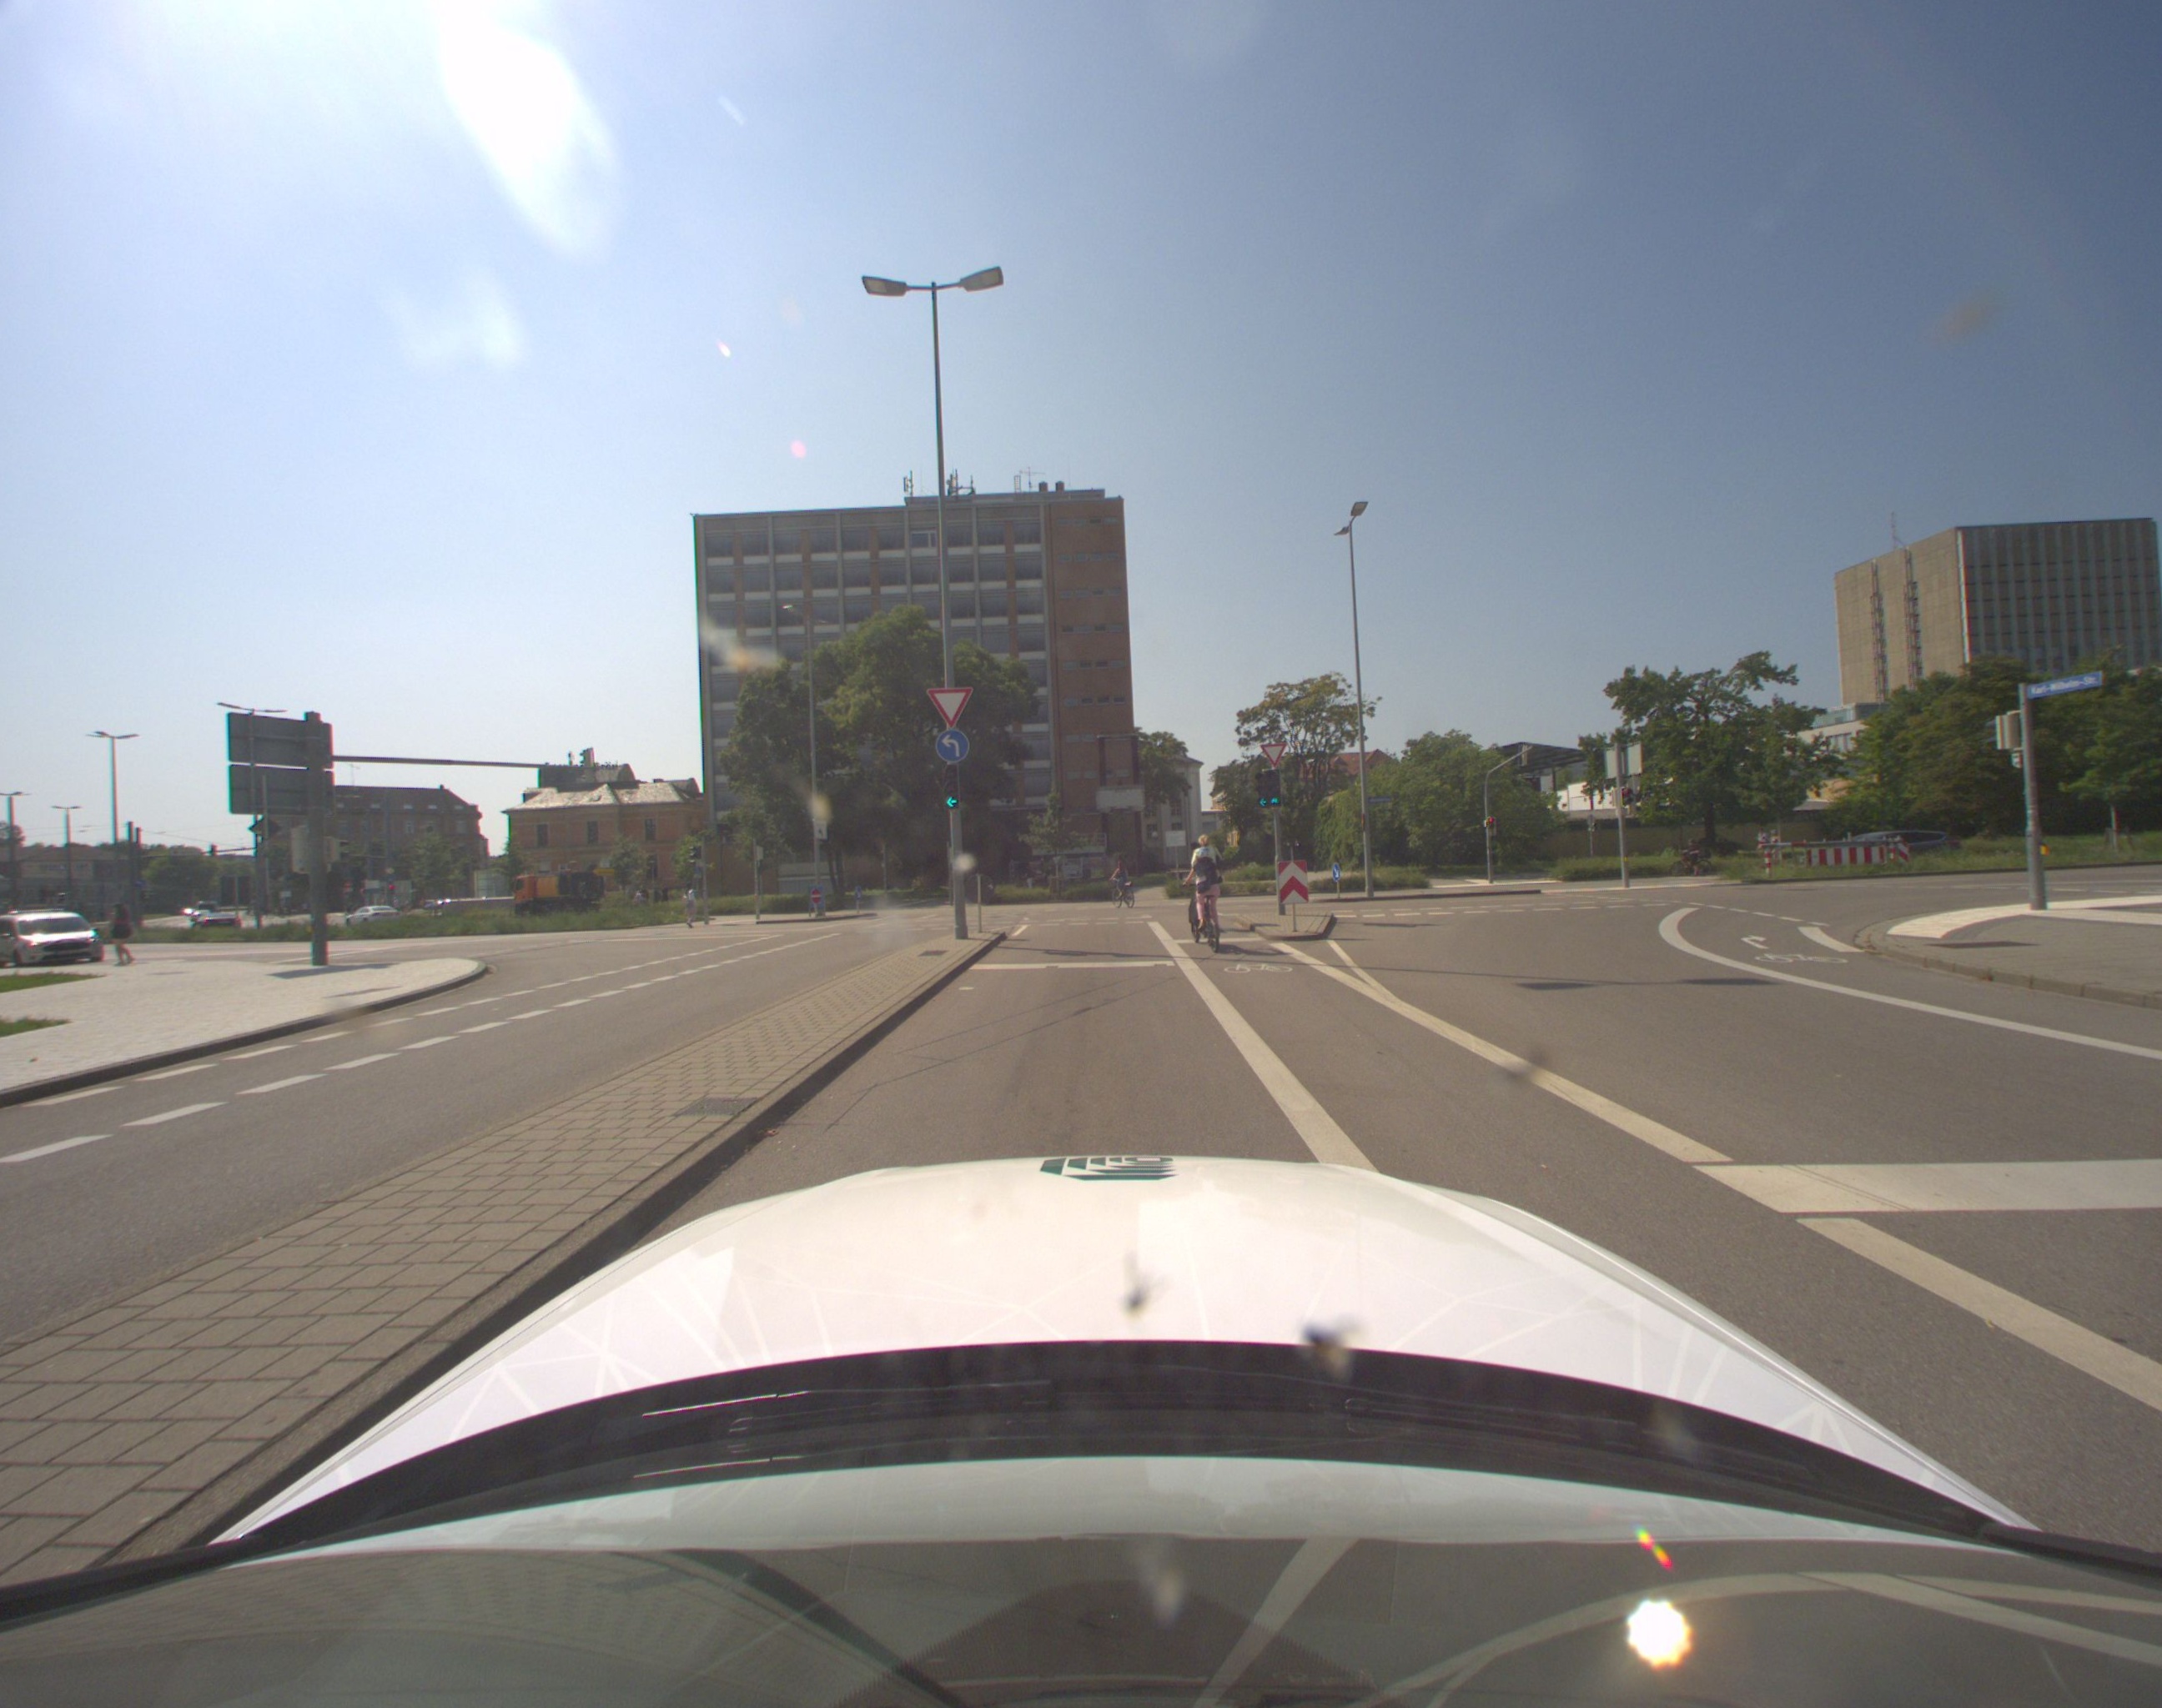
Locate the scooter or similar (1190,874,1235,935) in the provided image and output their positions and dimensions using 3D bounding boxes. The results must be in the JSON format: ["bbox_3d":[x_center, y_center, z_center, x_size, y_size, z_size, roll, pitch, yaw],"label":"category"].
[{"bbox_3d":[2.597,0.972,16.238,0.554,1.060,2.004,-3,0,1],"label":"scooter or similar"}]

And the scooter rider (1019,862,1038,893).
[{"bbox_3d":[-3.026,1.349,46.994,0.796,1.739,0.692,-4,-1,17],"label":"scooter rider"}]

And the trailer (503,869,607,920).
[{"bbox_3d":[-33.215,2.566,51.422,6.247,3.008,2.484,-3,-3,24],"label":"trailer"}]

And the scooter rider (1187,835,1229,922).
[{"bbox_3d":[2.558,0.490,16.448,0.668,1.699,0.539,-3,0,0],"label":"scooter rider"}]

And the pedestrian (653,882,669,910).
[{"bbox_3d":[-29.941,3.004,58.030,0.744,1.973,0.785,-4,-2,44],"label":"pedestrian"}]

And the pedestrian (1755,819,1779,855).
[{"bbox_3d":[34.976,-0.873,41.530,0.583,1.771,0.695,-3,-1,6],"label":"pedestrian"}]

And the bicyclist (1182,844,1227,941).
[{"bbox_3d":[1.977,0.598,13.129,0.547,1.496,0.803,-2,-1,0],"label":"bicyclist"}]

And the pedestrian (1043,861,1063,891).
[{"bbox_3d":[-1.662,1.331,48.619,0.869,1.704,0.711,-3,1,18],"label":"pedestrian"}]

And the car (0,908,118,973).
[{"bbox_3d":[-35.588,2.950,27.755,4.285,1.859,2.010,-3,1,18],"label":"car"}]

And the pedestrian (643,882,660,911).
[{"bbox_3d":[-30.023,2.991,56.934,0.744,1.973,0.785,-4,-2,44],"label":"pedestrian"}]

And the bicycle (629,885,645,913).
[{"bbox_3d":[-30.557,3.087,56.029,1.345,1.860,0.460,-4,-1,41],"label":"bicycle"}]

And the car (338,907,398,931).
[{"bbox_3d":[-49.042,4.471,56.034,4.368,1.455,1.774,-3,-2,30],"label":"car"}]

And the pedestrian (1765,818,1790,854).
[{"bbox_3d":[34.880,-0.889,40.808,0.583,1.771,0.695,-3,-1,6],"label":"pedestrian"}]

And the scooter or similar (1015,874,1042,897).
[{"bbox_3d":[-3.016,1.800,47.060,1.353,1.234,0.588,-3,-1,17],"label":"scooter or similar"}]

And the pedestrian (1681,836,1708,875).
[{"bbox_3d":[27.067,0.063,35.926,0.544,1.669,0.782,-3,-1,6],"label":"pedestrian"}]

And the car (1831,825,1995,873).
[{"bbox_3d":[27.447,-0.140,26.972,3.397,1.357,1.794,-3,-3,4],"label":"car"}]

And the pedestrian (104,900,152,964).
[{"bbox_3d":[-26.719,2.178,22.841,0.777,1.702,0.631,-3,-1,23],"label":"pedestrian"}]

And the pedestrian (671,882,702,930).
[{"bbox_3d":[-14.482,1.913,29.904,0.600,1.695,0.703,-3,-1,18],"label":"pedestrian"}]

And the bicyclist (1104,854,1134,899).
[{"bbox_3d":[1.386,0.815,29.966,0.694,1.598,0.837,-4,1,-25],"label":"bicyclist"}]

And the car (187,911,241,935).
[{"bbox_3d":[-56.638,4.481,53.185,3.929,1.404,1.775,-3,-2,33],"label":"car"}]

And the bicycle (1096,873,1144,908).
[{"bbox_3d":[1.412,1.322,29.998,0.697,1.155,2.352,-4,1,-25],"label":"bicycle"}]

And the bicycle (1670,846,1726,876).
[{"bbox_3d":[27.194,0.294,35.912,1.774,1.212,0.787,-3,-1,5],"label":"bicycle"}]

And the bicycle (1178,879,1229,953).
[{"bbox_3d":[1.999,0.983,13.495,0.554,1.060,2.004,-1,0,1],"label":"bicycle"}]
